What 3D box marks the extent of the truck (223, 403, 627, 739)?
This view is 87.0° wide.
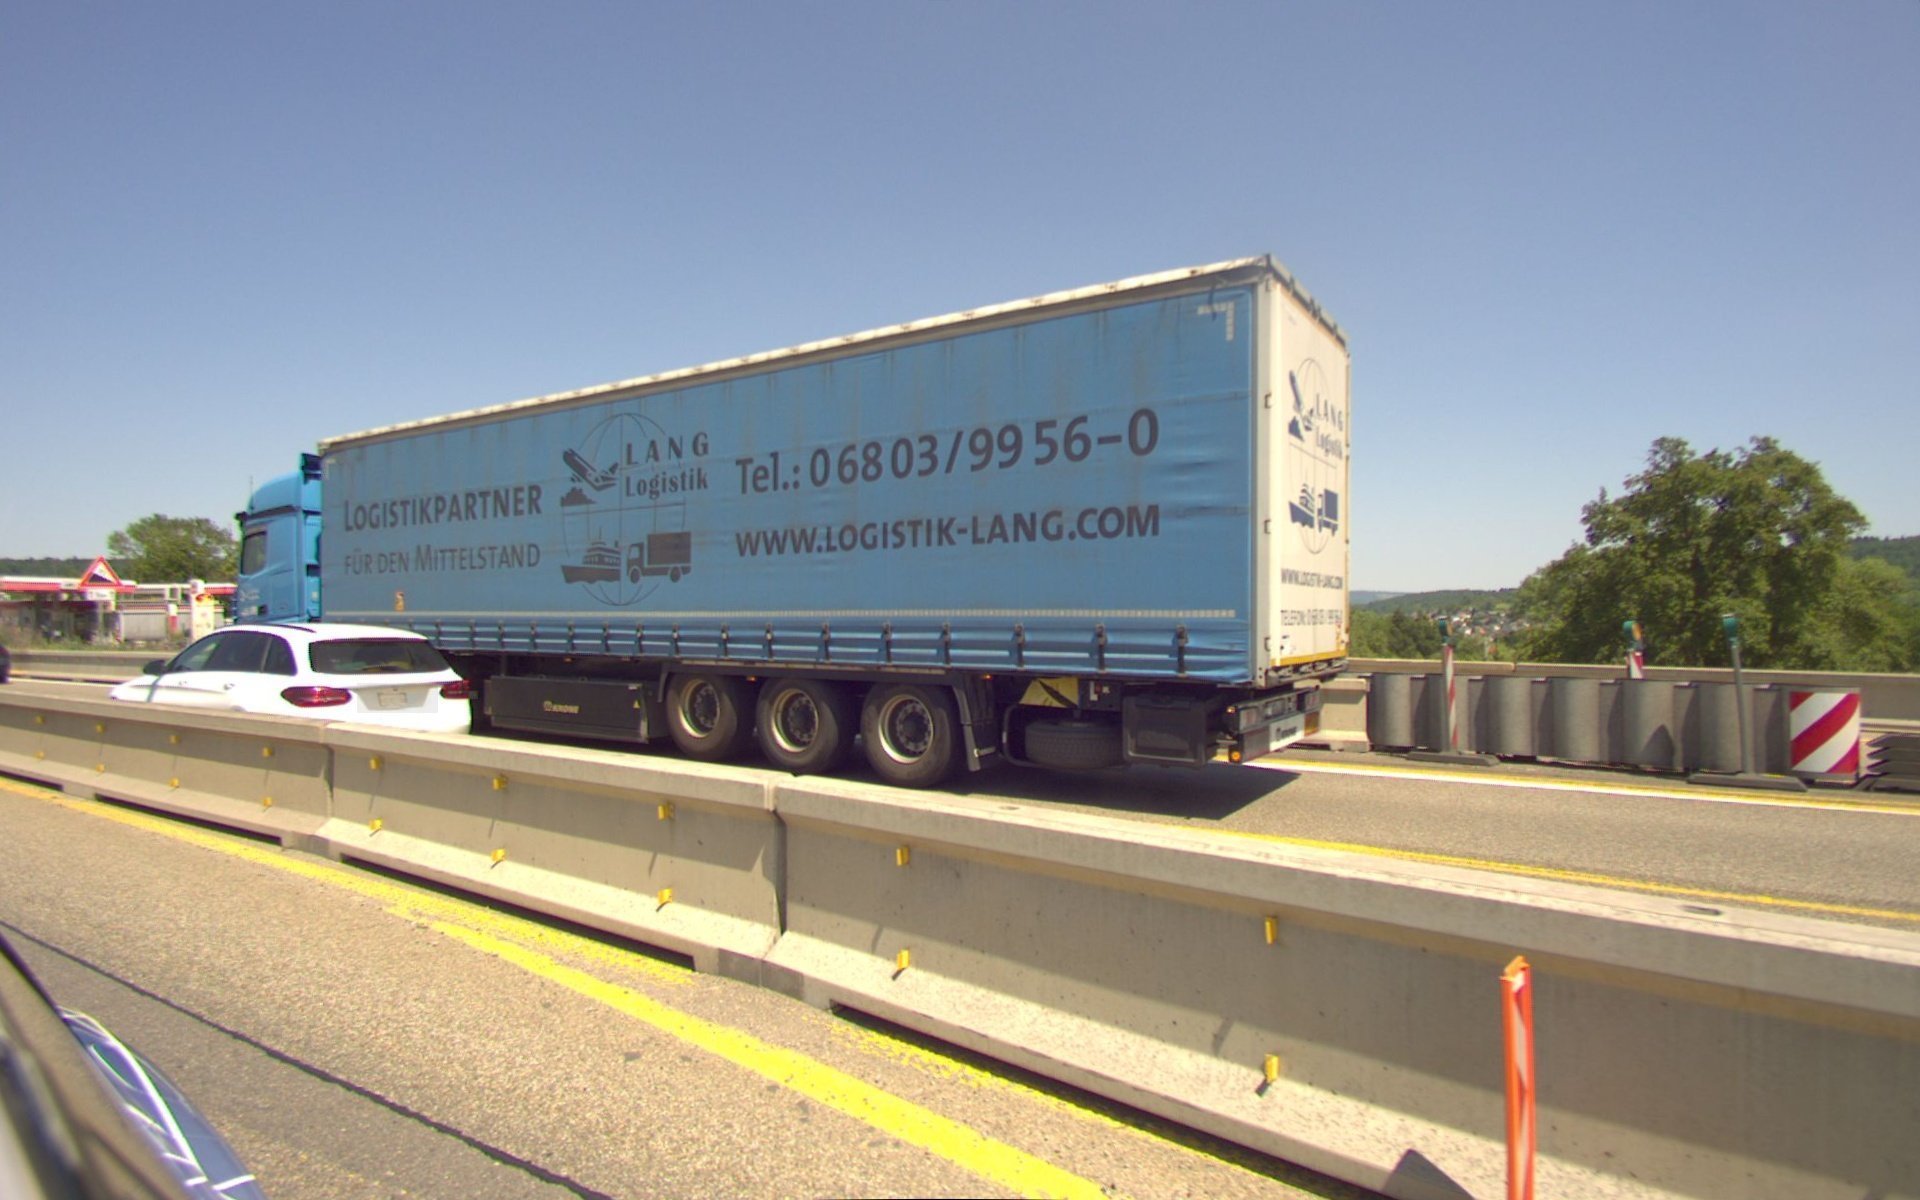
[{"bbox_3d":[-8.245,-0.286,15.402,6.121,4.160,2.891,-2,-1,34],"label":"truck"}]

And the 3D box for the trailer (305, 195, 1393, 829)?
[{"bbox_3d":[-2.724,-0.422,11.691,13.876,4.160,2.890,-2,-1,34],"label":"trailer"}]

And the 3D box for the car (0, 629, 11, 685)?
[{"bbox_3d":[-27.009,1.570,26.478,4.563,1.409,1.980,-2,2,31],"label":"car"}]

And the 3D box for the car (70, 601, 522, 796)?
[{"bbox_3d":[-6.763,0.852,10.197,4.571,1.455,2.002,-2,2,32],"label":"car"}]
